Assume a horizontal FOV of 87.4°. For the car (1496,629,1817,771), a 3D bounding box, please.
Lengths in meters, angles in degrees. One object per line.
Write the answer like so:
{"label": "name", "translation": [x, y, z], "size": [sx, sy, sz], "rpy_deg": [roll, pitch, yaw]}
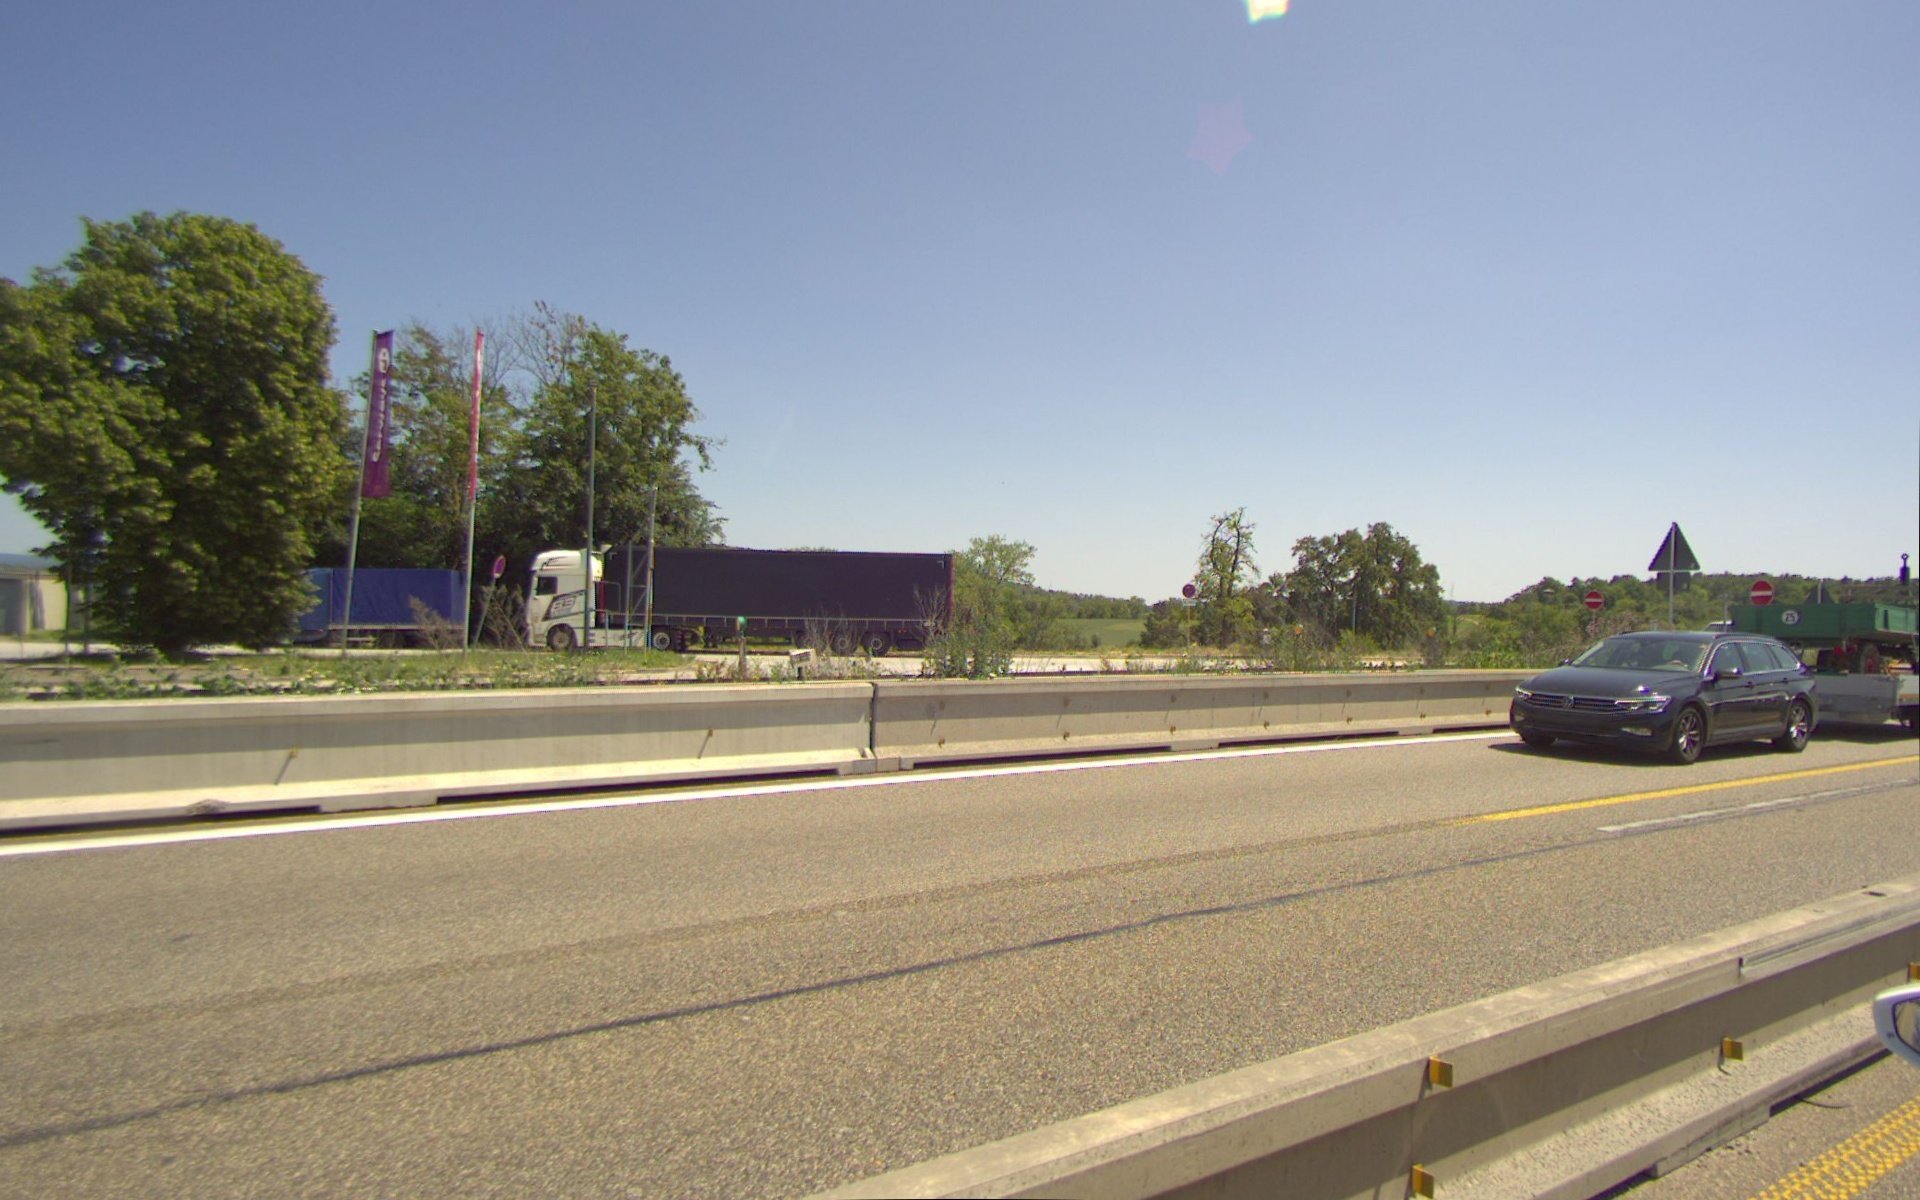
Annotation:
{"label": "car", "translation": [8.687, 1.107, 12.442], "size": [4.285, 1.472, 1.679], "rpy_deg": [1, -1, -31]}

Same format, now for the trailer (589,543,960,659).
{"label": "trailer", "translation": [-7.059, 0.073, 39.798], "size": [13.890, 4.166, 3.159], "rpy_deg": [1, -1, -3]}

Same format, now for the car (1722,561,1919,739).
{"label": "car", "translation": [14.858, 0.757, 16.166], "size": [6.378, 2.430, 1.905], "rpy_deg": [1, -2, -31]}

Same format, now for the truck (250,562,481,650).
{"label": "truck", "translation": [-22.612, 0.267, 38.580], "size": [6.991, 3.104, 2.824], "rpy_deg": [1, -1, -8]}

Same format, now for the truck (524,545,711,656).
{"label": "truck", "translation": [-13.267, 0.052, 39.414], "size": [6.224, 4.038, 3.159], "rpy_deg": [1, -1, -3]}
